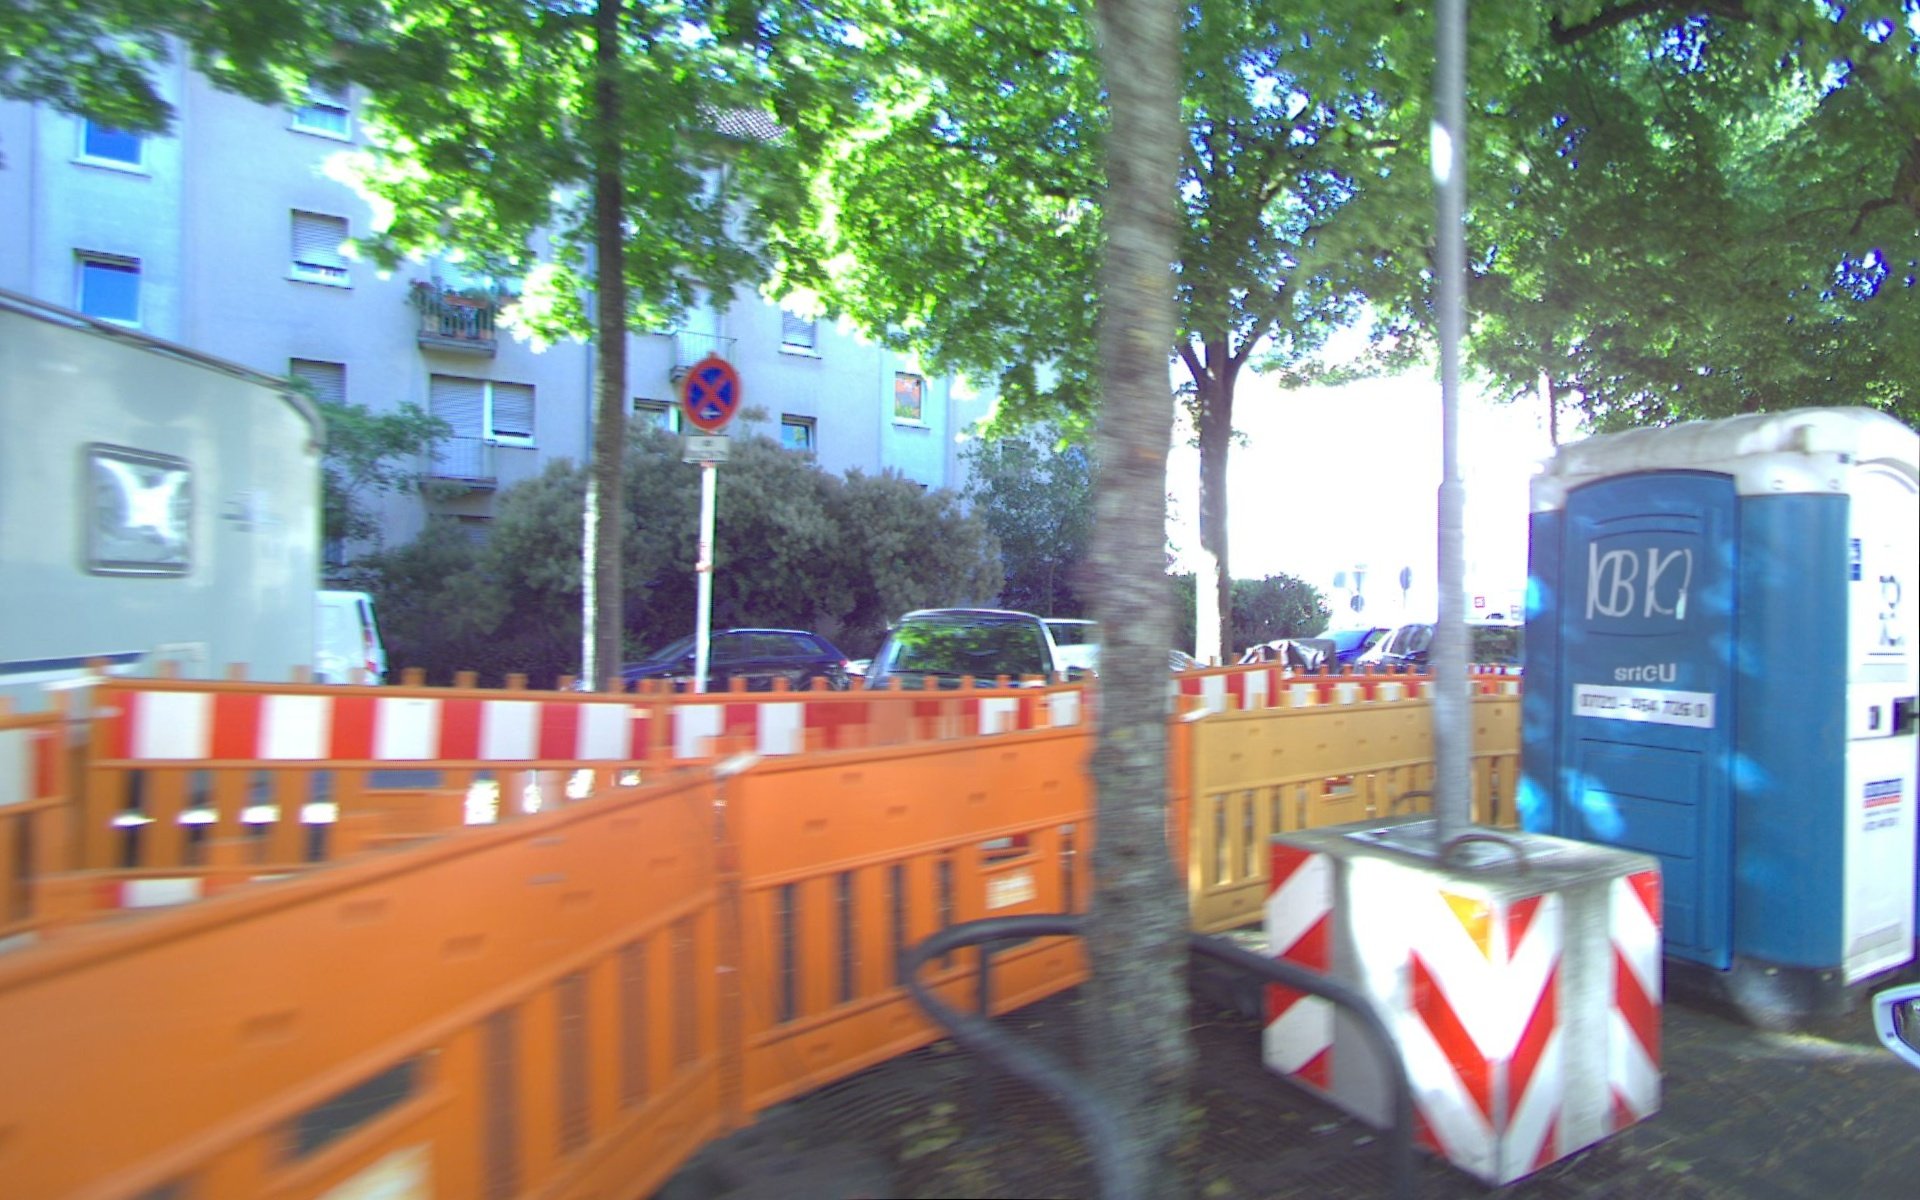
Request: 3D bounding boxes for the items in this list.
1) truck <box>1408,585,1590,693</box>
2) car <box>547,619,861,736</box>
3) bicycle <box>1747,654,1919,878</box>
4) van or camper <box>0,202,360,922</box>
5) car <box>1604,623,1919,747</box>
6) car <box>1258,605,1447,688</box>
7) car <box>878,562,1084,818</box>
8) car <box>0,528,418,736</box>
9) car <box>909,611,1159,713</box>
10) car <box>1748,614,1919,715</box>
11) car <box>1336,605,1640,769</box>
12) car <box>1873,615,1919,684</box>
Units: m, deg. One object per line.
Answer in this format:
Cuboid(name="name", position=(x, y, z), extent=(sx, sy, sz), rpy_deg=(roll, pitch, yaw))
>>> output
Cuboid(name="truck", position=(13.152, 0.936, 24.506), extent=(4.210, 2.441, 1.914), rpy_deg=(1, -1, -28))
Cuboid(name="car", position=(-3.644, 1.041, 14.453), extent=(4.078, 1.462, 1.711), rpy_deg=(1, -1, -30))
Cuboid(name="bicycle", position=(5.139, 0.915, 5.783), extent=(1.530, 1.171, 0.279), rpy_deg=(2, 0, -26))
Cuboid(name="van or camper", position=(-5.227, -0.176, 3.768), extent=(2.352, 3.041, 6.034), rpy_deg=(0, -1, -1))
Cuboid(name="car", position=(11.293, 1.079, 14.151), extent=(1.549, 1.480, 3.908), rpy_deg=(1, -1, -9))
Cuboid(name="car", position=(8.453, 0.962, 21.552), extent=(4.146, 1.595, 1.612), rpy_deg=(1, 0, -32))
Cuboid(name="car", position=(0.202, 0.645, 8.408), extent=(1.393, 1.739, 2.994), rpy_deg=(1, -1, 2))
Cuboid(name="car", position=(-8.565, 0.339, 11.332), extent=(4.219, 2.040, 1.612), rpy_deg=(1, 0, -32))
Cuboid(name="car", position=(1.312, 1.022, 17.351), extent=(4.064, 1.579, 1.711), rpy_deg=(1, -1, -30))
Cuboid(name="car", position=(16.418, 1.094, 17.622), extent=(1.666, 1.647, 4.130), rpy_deg=(1, -1, -6))
Cuboid(name="car", position=(5.787, 0.880, 11.598), extent=(1.637, 1.539, 4.002), rpy_deg=(0, -1, 4))
Cuboid(name="car", position=(21.681, 1.132, 21.509), extent=(1.223, 1.472, 2.949), rpy_deg=(2, 1, -12))
